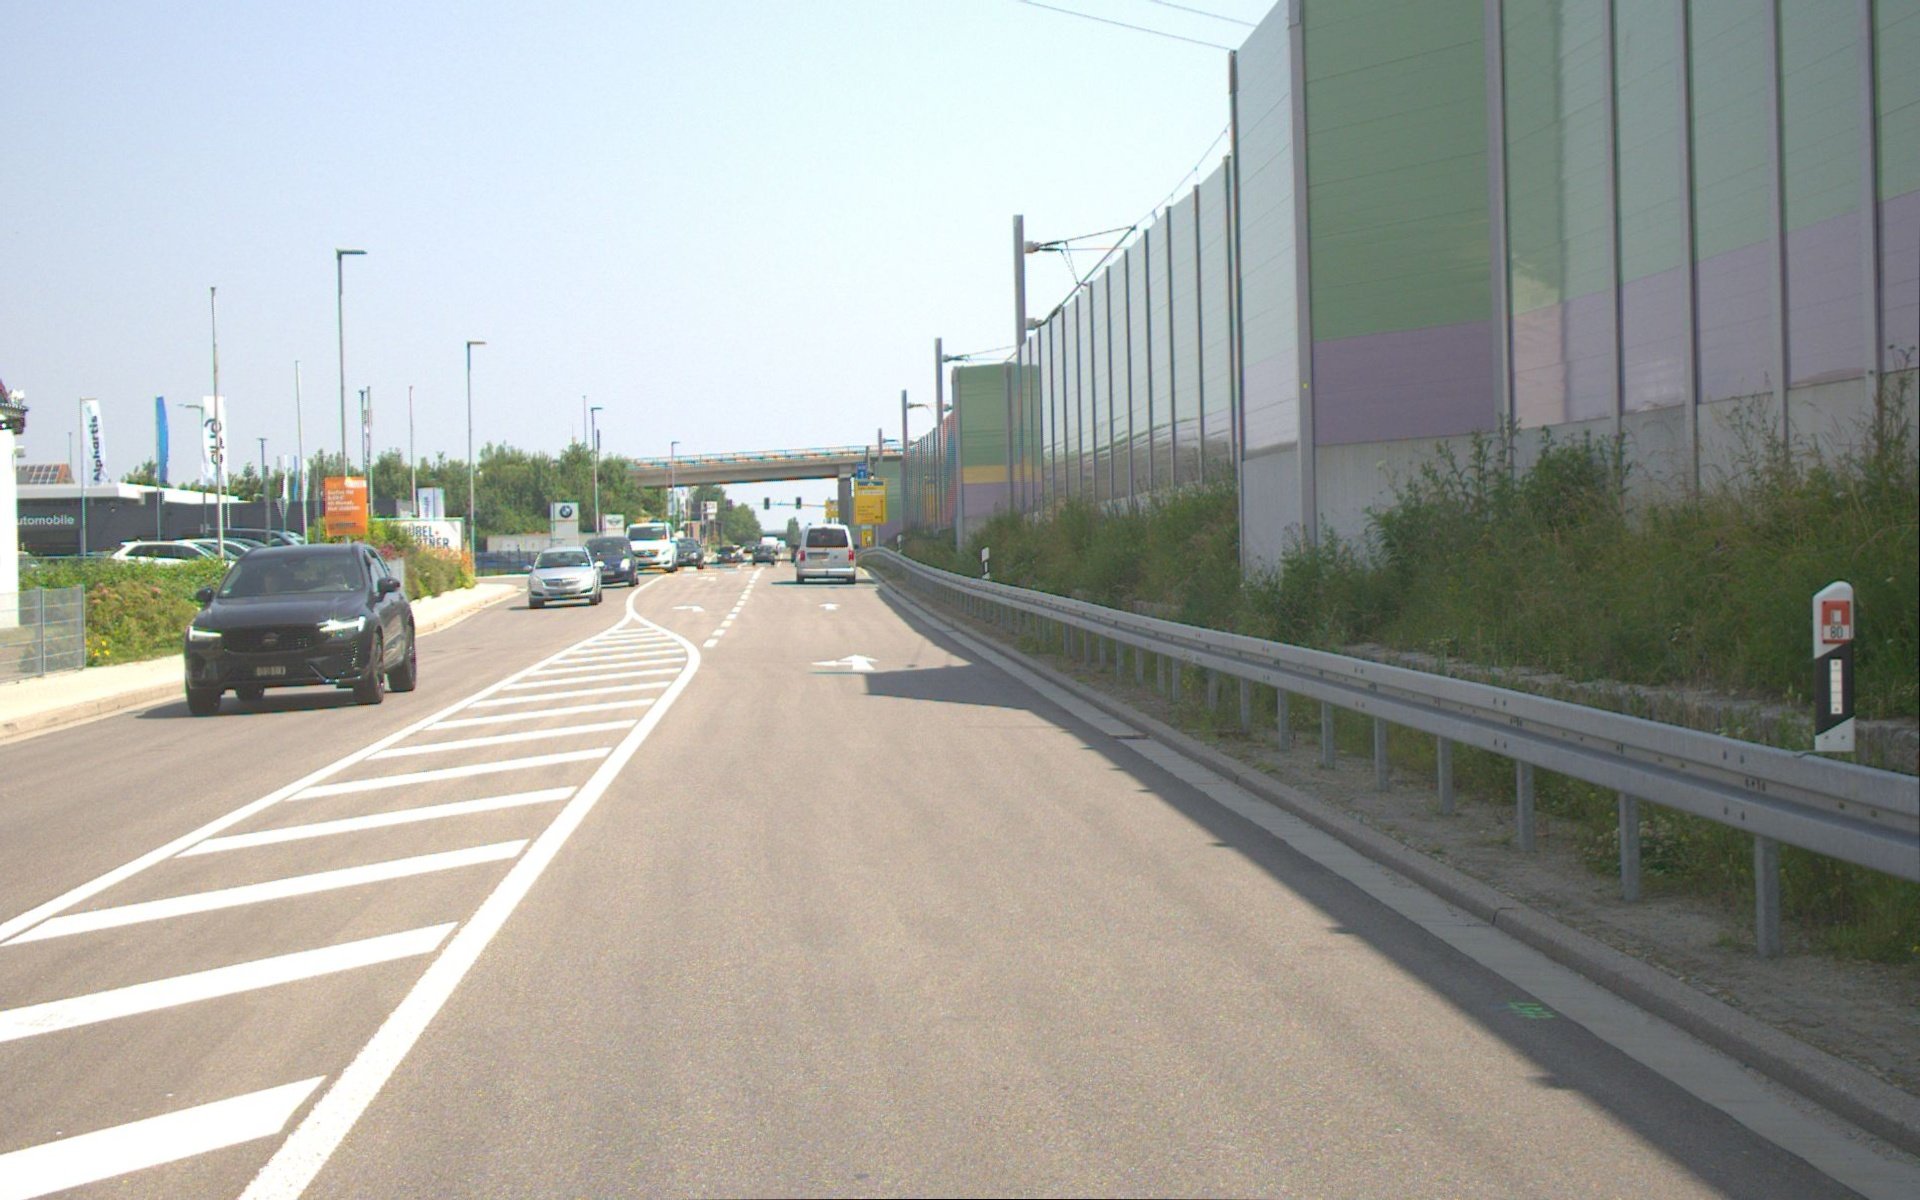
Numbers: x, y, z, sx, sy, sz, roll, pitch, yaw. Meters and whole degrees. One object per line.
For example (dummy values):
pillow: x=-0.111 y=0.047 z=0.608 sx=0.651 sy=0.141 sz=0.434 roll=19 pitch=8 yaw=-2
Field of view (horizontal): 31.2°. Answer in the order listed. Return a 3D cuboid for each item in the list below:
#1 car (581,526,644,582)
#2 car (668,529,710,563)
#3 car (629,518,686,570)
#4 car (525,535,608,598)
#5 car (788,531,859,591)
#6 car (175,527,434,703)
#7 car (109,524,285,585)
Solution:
car: x=-10.729 y=-1.430 z=106.324 sx=1.668 sy=1.594 sz=3.973 roll=-3 pitch=1 yaw=-3
car: x=-11.928 y=-2.383 z=151.480 sx=1.670 sy=1.418 sz=4.001 roll=-3 pitch=1 yaw=-3
car: x=-11.371 y=-2.094 z=129.078 sx=1.993 sy=1.867 sz=5.170 roll=-2 pitch=1 yaw=-5
car: x=-9.893 y=-0.858 z=86.684 sx=1.764 sy=1.461 sz=4.260 roll=-3 pitch=1 yaw=-3
car: x=-4.081 y=-1.183 z=103.436 sx=1.993 sy=1.751 sz=4.000 roll=-1 pitch=1 yaw=-1
car: x=-6.740 y=0.104 z=35.809 sx=1.881 sy=1.611 sz=4.523 roll=-3 pitch=1 yaw=-2
car: x=-19.861 y=-1.196 z=89.562 sx=4.223 sy=1.451 sz=1.764 roll=2 pitch=1 yaw=-4
